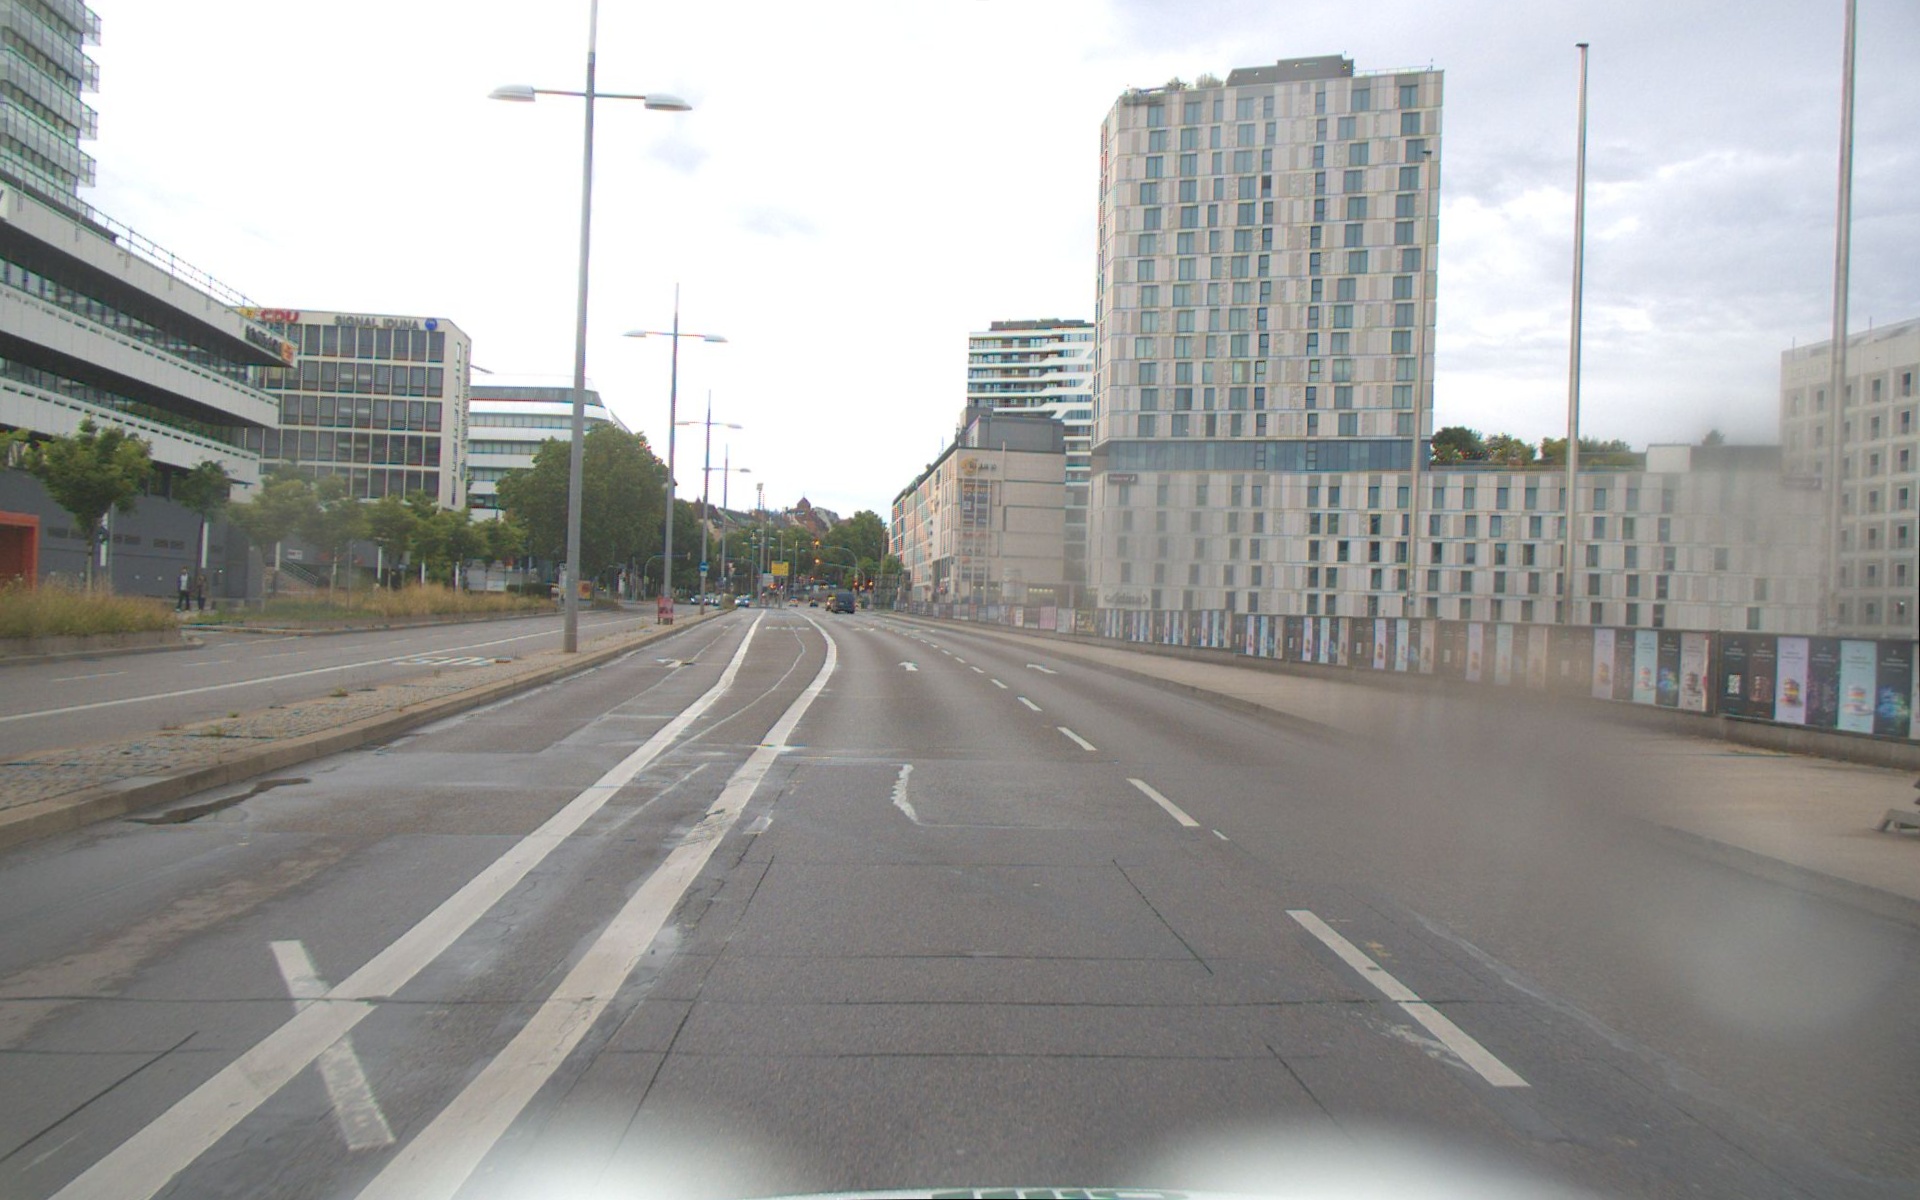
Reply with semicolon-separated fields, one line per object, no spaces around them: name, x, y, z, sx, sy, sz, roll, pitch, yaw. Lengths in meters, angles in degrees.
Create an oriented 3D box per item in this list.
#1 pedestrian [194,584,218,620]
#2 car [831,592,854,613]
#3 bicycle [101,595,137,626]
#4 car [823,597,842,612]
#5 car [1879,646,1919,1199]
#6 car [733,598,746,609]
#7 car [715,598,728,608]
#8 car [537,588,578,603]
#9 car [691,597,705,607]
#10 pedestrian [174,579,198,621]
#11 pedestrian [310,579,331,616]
pedestrian;-31.133;0.091;68.314;0.605;1.471;0.797;1;-1;-5
car;-11.418;0.196;160.547;1.994;1.915;5.035;-1;1;-6
bicycle;-24.946;0.316;49.035;0.603;0.872;1.634;2;-2;-39
car;-14.346;0.523;185.486;1.709;1.558;3.803;1;-1;-11
car;3.131;0.784;1.996;1.688;1.400;4.154;1;-1;-1
car;-30.601;0.502;229.346;1.710;1.470;3.390;1;-1;-6
car;-33.211;0.410;230.508;1.710;1.279;3.534;2;0;-6
car;-48.976;-0.518;201.255;4.405;1.660;1.896;1;-1;9
car;-36.310;0.302;229.496;1.710;1.352;4.219;1;-1;-6
pedestrian;-31.962;0.007;68.286;0.605;1.687;0.797;2;-2;-5
pedestrian;-32.490;-0.130;84.041;0.769;1.839;0.628;1;-1;-6
